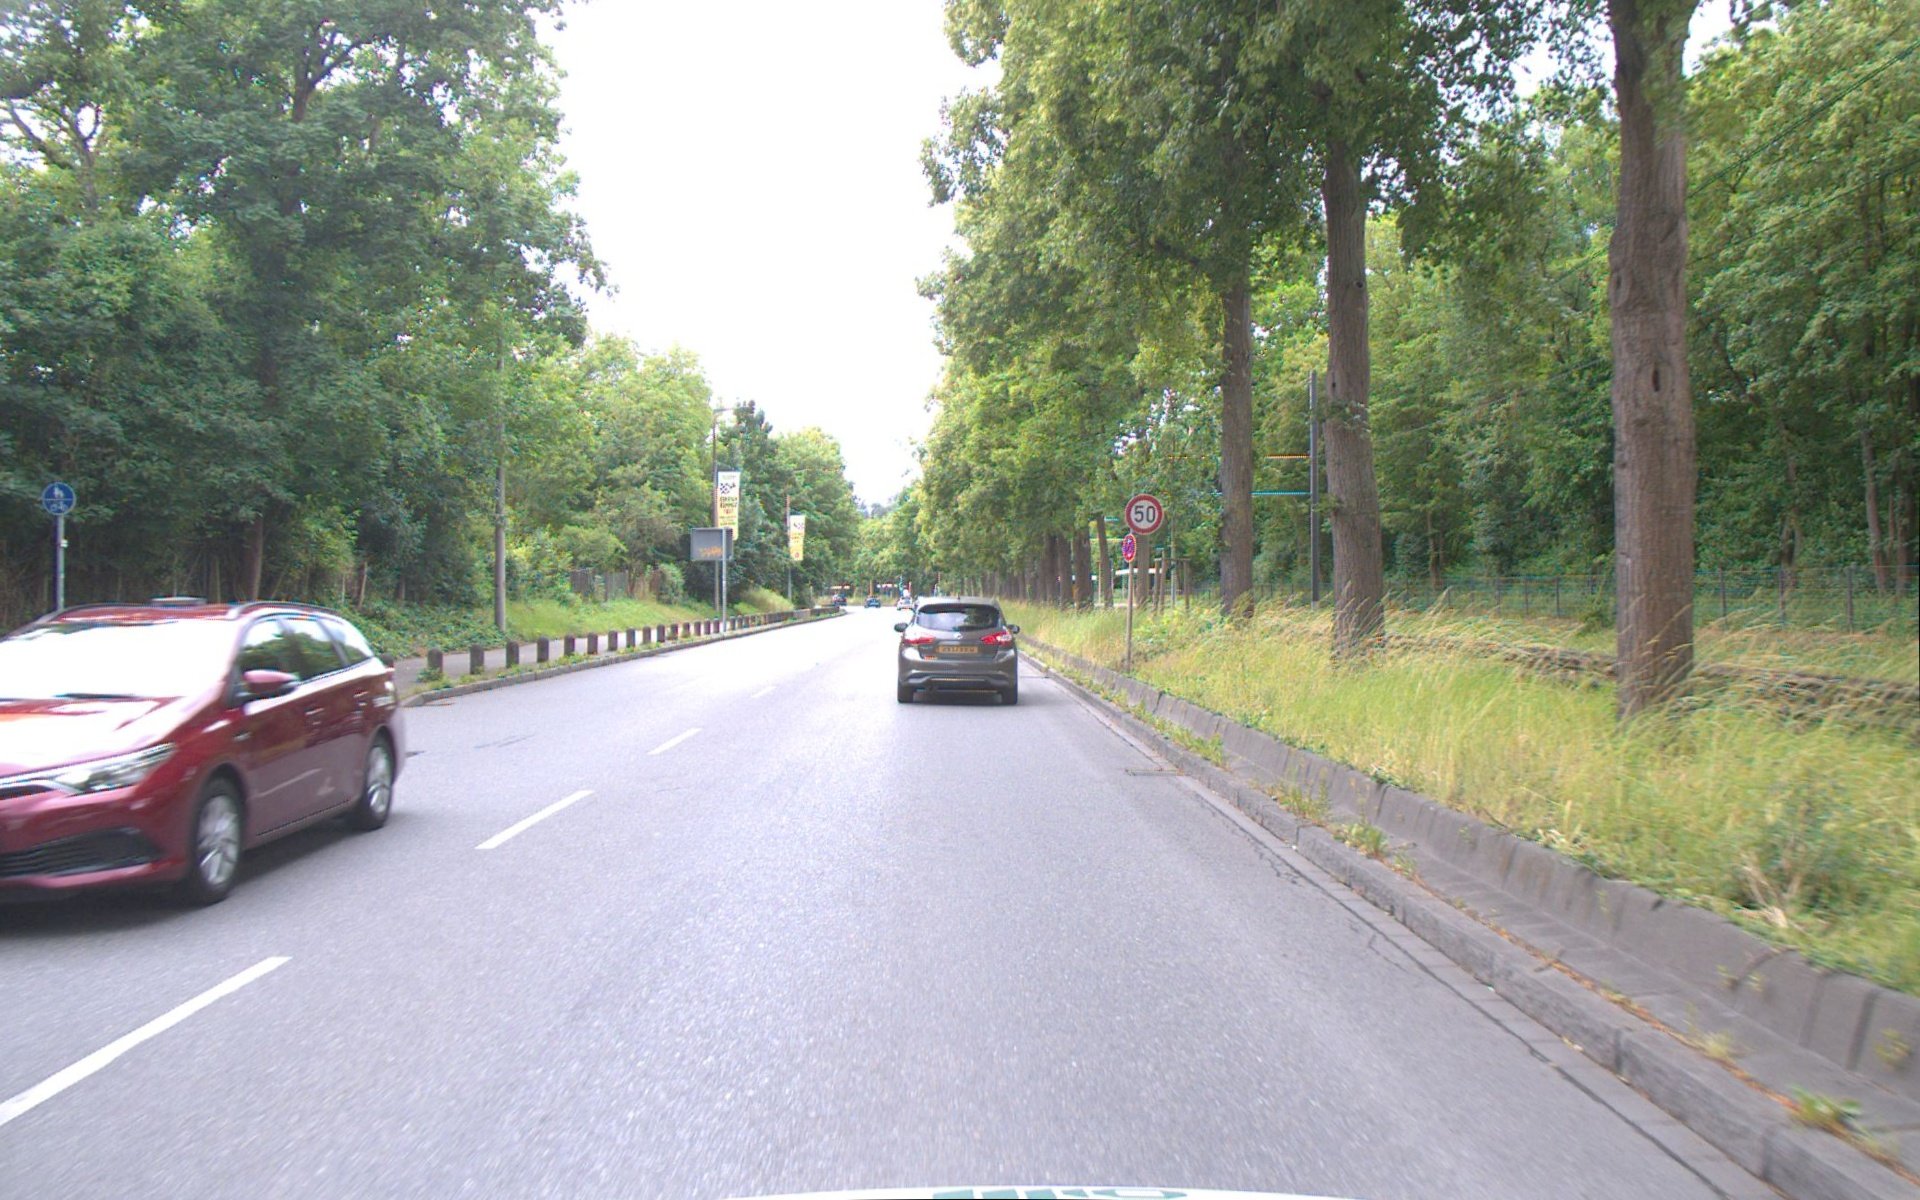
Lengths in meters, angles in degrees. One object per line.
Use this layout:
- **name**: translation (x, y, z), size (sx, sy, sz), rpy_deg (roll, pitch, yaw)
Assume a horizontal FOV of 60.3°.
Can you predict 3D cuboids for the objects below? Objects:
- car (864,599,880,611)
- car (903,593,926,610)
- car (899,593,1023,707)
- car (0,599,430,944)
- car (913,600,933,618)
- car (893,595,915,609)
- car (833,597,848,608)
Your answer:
- **car**: translation (-11.295, 0.624, 211.411), size (1.533, 1.466, 3.542), rpy_deg (1, 0, -11)
- **car**: translation (-4.229, 0.127, 152.698), size (1.534, 1.466, 3.541), rpy_deg (1, 0, -12)
- **car**: translation (-0.032, 0.695, 24.806), size (1.695, 1.564, 3.550), rpy_deg (1, 0, -2)
- **car**: translation (-4.397, 0.744, 9.140), size (1.682, 1.453, 4.195), rpy_deg (-2, 0, -2)
- **car**: translation (-3.009, 0.731, 135.753), size (1.529, 1.466, 3.551), rpy_deg (1, 0, 0)
- **car**: translation (-5.971, 0.210, 175.564), size (1.536, 1.466, 3.537), rpy_deg (1, 0, -15)
- **car**: translation (-17.608, 0.347, 243.636), size (1.535, 1.466, 3.539), rpy_deg (1, 0, -14)
